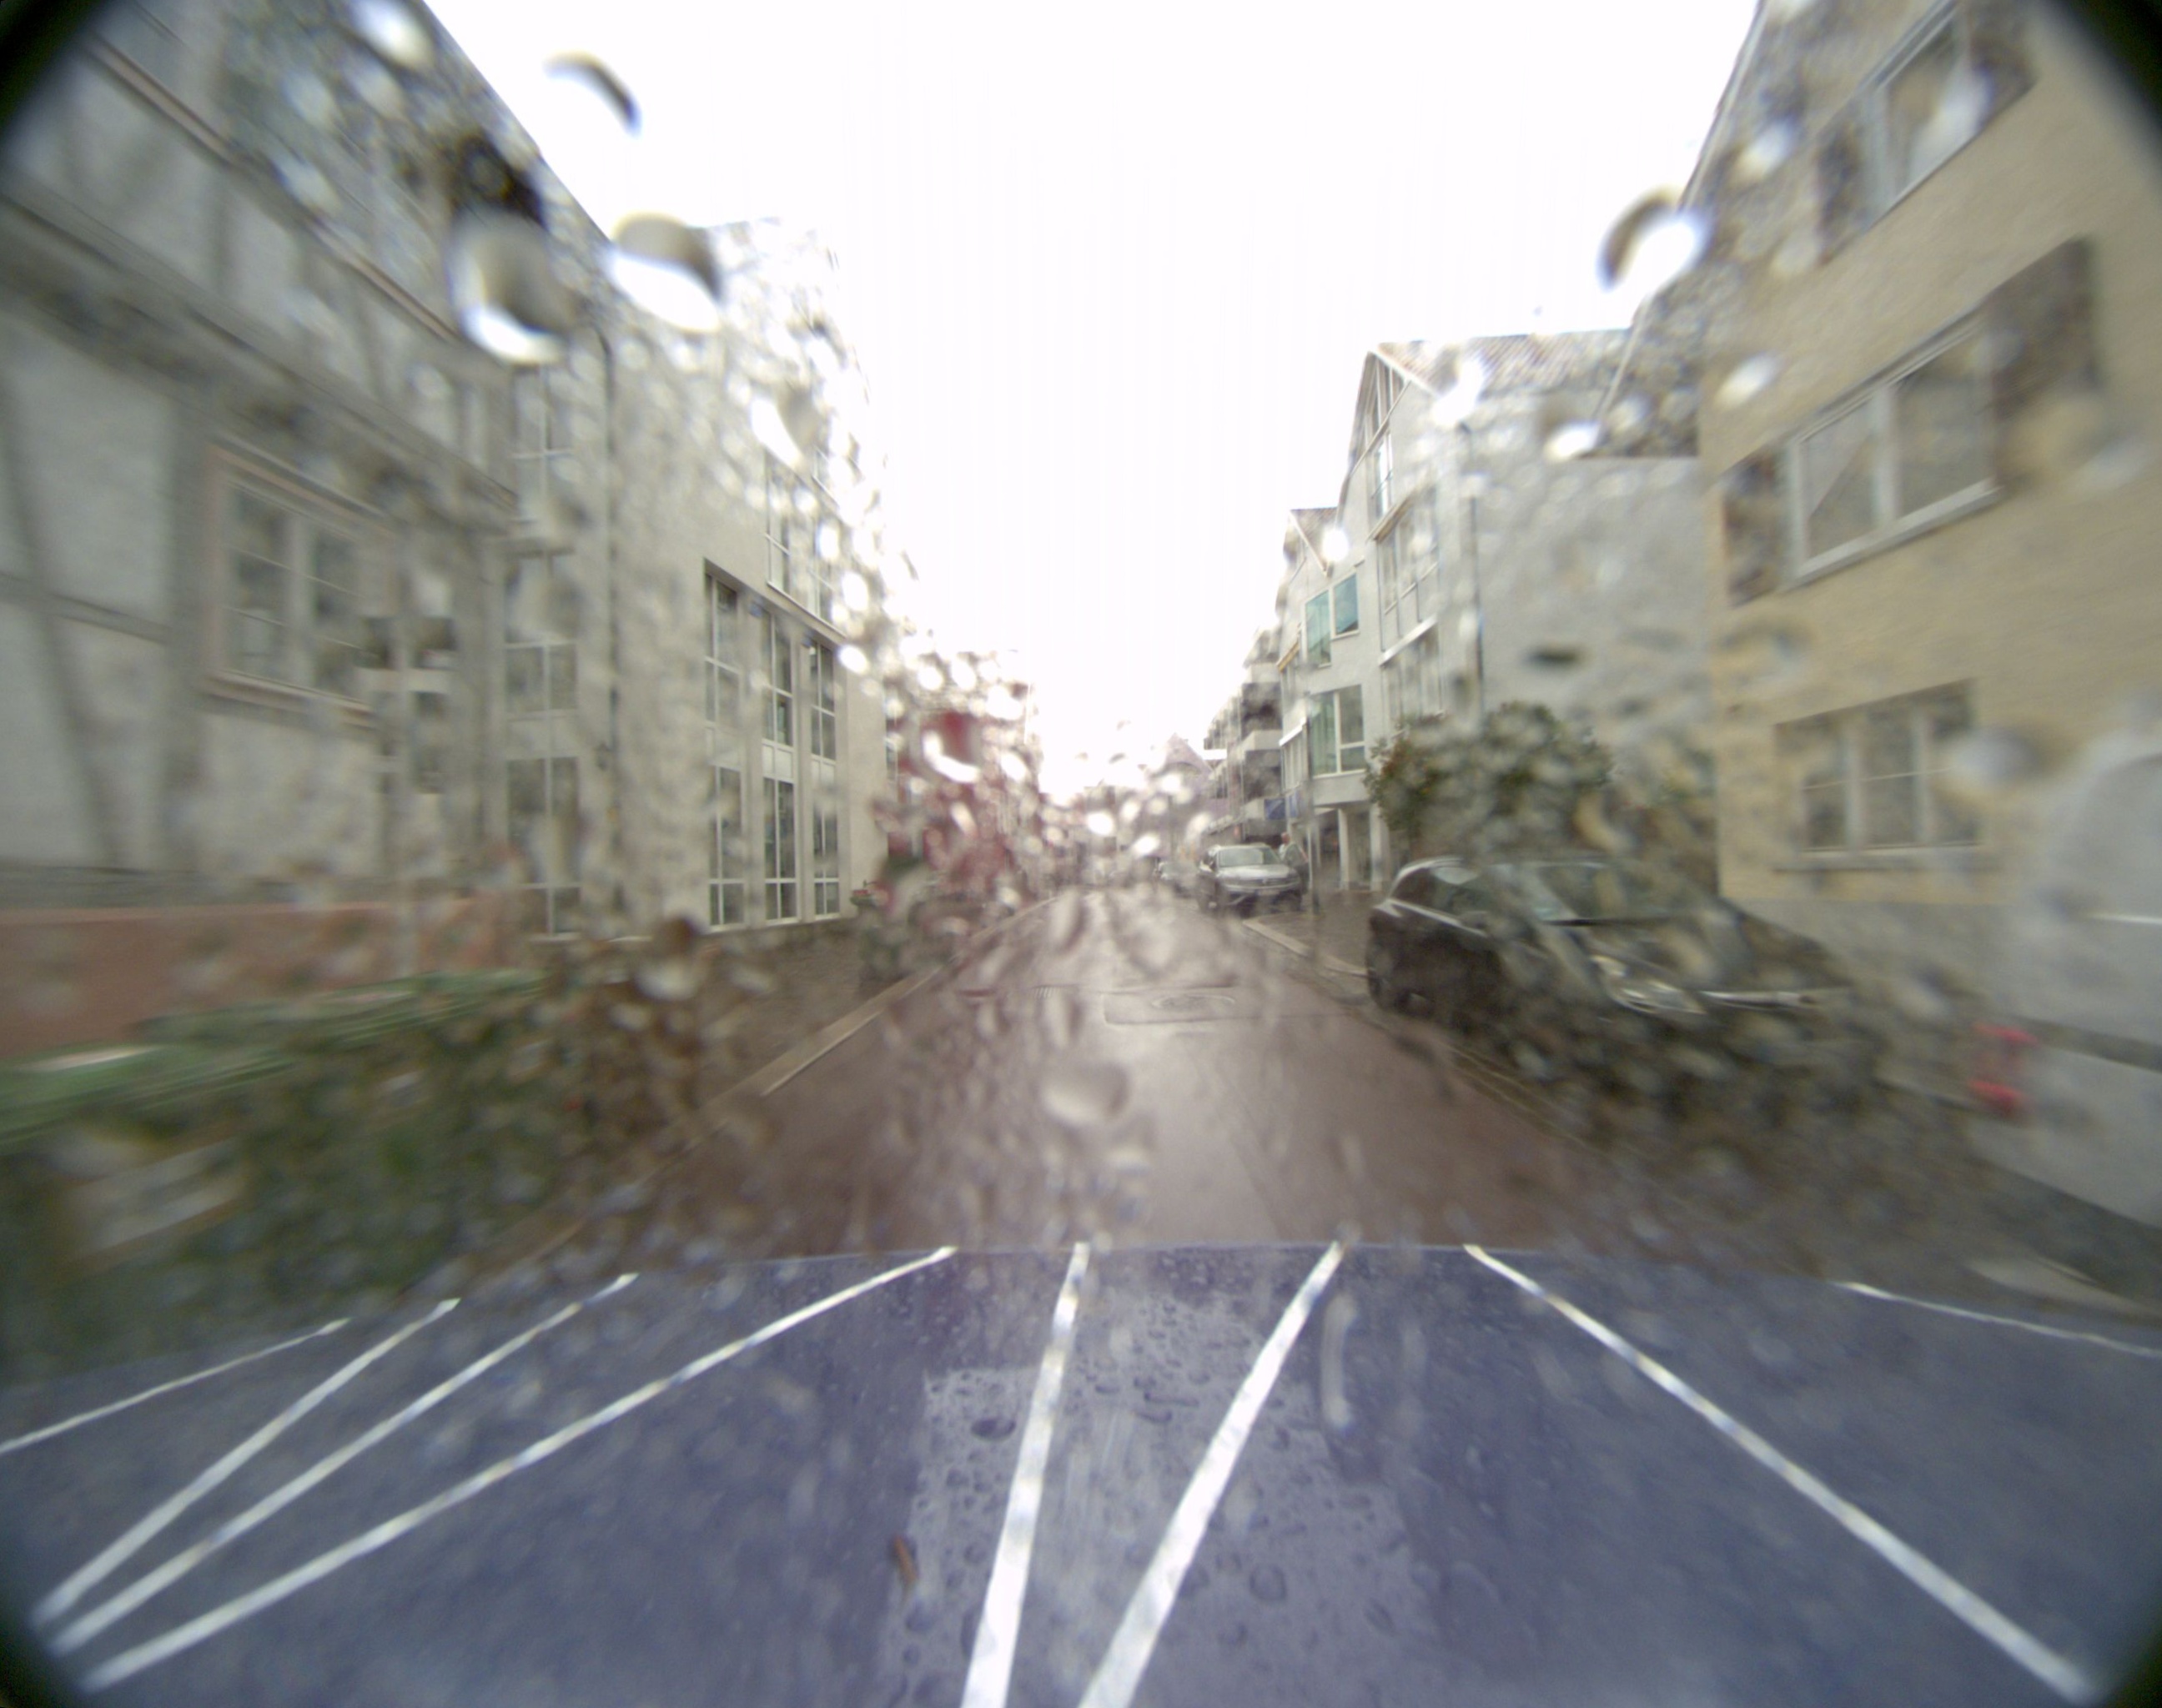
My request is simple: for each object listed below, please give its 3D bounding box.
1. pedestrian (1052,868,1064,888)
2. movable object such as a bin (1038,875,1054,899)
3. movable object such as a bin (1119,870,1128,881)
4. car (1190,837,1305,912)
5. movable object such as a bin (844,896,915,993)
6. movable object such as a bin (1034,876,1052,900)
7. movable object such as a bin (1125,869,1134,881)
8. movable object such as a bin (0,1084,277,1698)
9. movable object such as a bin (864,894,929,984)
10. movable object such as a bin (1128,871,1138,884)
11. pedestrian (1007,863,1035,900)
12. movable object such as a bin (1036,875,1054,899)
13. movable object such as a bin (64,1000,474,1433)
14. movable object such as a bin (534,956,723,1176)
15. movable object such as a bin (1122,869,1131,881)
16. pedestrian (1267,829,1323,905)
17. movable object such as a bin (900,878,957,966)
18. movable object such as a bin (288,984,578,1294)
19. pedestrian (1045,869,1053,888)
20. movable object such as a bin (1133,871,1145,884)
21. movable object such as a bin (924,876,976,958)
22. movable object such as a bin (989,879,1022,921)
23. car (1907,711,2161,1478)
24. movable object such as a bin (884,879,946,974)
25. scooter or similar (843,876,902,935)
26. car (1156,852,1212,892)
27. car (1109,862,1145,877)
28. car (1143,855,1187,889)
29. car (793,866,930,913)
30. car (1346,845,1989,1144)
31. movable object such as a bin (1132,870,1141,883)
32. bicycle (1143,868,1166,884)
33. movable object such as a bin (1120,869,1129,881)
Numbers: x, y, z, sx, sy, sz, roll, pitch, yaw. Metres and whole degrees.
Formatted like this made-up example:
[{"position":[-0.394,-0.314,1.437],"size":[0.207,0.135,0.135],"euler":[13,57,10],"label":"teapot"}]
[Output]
[{"position":[-2.283,2.394,75.004],"size":[0.775,1.893,0.804],"euler":[-3,1,-25],"label":"pedestrian"},{"position":[-1.672,1.588,36.643],"size":[0.678,1.078,0.698],"euler":[-2,0,3],"label":"movable object such as a bin"},{"position":[4.081,2.052,72.982],"size":[0.688,1.071,0.677],"euler":[-3,-1,-7],"label":"movable object such as a bin"},{"position":[3.925,0.432,18.669],"size":[1.784,1.559,4.407],"euler":[-3,1,0],"label":"car"},{"position":[-2.515,1.116,9.554],"size":[0.617,1.125,0.632],"euler":[-2,1,7],"label":"movable object such as a bin"},{"position":[-1.737,1.567,35.131],"size":[0.731,1.075,0.646],"euler":[-2,0,3],"label":"movable object such as a bin"},{"position":[4.451,1.959,70.236],"size":[0.688,1.099,0.669],"euler":[-3,-1,-7],"label":"movable object such as a bin"},{"position":[-2.587,1.213,1.814],"size":[0.639,1.140,0.604],"euler":[-2,1,6],"label":"movable object such as a bin"},{"position":[-2.469,1.129,10.225],"size":[0.617,1.125,0.632],"euler":[-2,1,6],"label":"movable object such as a bin"},{"position":[4.665,2.106,68.102],"size":[0.688,1.067,0.669],"euler":[-3,-1,-7],"label":"movable object such as a bin"},{"position":[-2.805,1.262,35.698],"size":[1.180,1.687,1.177],"euler":[-1,-1,-1],"label":"pedestrian"},{"position":[-1.692,1.571,35.902],"size":[0.712,1.088,0.614],"euler":[-2,0,3],"label":"movable object such as a bin"},{"position":[-2.667,1.143,2.578],"size":[0.639,1.140,0.632],"euler":[-3,1,-1],"label":"movable object such as a bin"},{"position":[-2.651,1.216,4.521],"size":[0.680,1.090,0.650],"euler":[-3,1,-2],"label":"movable object such as a bin"},{"position":[4.293,2.007,71.330],"size":[0.688,1.074,0.669],"euler":[-3,-1,-7],"label":"movable object such as a bin"},{"position":[5.336,0.328,19.020],"size":[1.037,1.795,1.116],"euler":[-3,-1,2],"label":"pedestrian"},{"position":[-2.346,1.030,11.724],"size":[0.639,1.283,0.632],"euler":[-2,1,6],"label":"movable object such as a bin"},{"position":[-2.678,1.147,3.210],"size":[0.671,1.075,0.587],"euler":[-1,1,0],"label":"movable object such as a bin"},{"position":[-3.156,2.427,75.096],"size":[0.656,1.891,0.658],"euler":[0,0,-25],"label":"pedestrian"},{"position":[4.555,1.836,59.932],"size":[0.689,1.014,0.631],"euler":[-3,-1,-16],"label":"movable object such as a bin"},{"position":[-2.174,1.037,12.670],"size":[0.639,1.283,0.632],"euler":[-2,1,6],"label":"movable object such as a bin"},{"position":[-2.148,1.295,21.666],"size":[0.806,1.124,0.862],"euler":[-3,1,0],"label":"movable object such as a bin"},{"position":[3.418,0.551,0.102],"size":[1.728,1.814,4.427],"euler":[-3,1,-1],"label":"car"},{"position":[-2.379,1.030,10.944],"size":[0.639,1.283,0.632],"euler":[-2,1,6],"label":"movable object such as a bin"},{"position":[-4.540,1.105,16.674],"size":[0.666,1.139,1.447],"euler":[-2,1,8],"label":"scooter or similar"},{"position":[4.174,0.740,31.460],"size":[1.835,1.489,4.765],"euler":[-2,-1,3],"label":"car"},{"position":[5.451,1.858,89.834],"size":[3.993,1.574,1.834],"euler":[-2,1,8],"label":"car"},{"position":[4.220,0.928,38.632],"size":[1.796,1.541,4.002],"euler":[-3,-2,1],"label":"car"},{"position":[-7.365,1.189,25.609],"size":[3.993,1.505,1.914],"euler":[-1,-2,12],"label":"car"},{"position":[3.547,0.668,5.616],"size":[1.685,1.381,3.824],"euler":[-3,1,-2],"label":"car"},{"position":[4.826,1.947,66.165],"size":[0.688,1.070,0.669],"euler":[-3,-1,-7],"label":"movable object such as a bin"},{"position":[5.889,1.726,60.671],"size":[1.753,1.158,0.443],"euler":[-3,1,-18],"label":"bicycle"},{"position":[4.177,2.032,72.240],"size":[0.688,1.080,0.712],"euler":[-3,-1,-7],"label":"movable object such as a bin"}]
